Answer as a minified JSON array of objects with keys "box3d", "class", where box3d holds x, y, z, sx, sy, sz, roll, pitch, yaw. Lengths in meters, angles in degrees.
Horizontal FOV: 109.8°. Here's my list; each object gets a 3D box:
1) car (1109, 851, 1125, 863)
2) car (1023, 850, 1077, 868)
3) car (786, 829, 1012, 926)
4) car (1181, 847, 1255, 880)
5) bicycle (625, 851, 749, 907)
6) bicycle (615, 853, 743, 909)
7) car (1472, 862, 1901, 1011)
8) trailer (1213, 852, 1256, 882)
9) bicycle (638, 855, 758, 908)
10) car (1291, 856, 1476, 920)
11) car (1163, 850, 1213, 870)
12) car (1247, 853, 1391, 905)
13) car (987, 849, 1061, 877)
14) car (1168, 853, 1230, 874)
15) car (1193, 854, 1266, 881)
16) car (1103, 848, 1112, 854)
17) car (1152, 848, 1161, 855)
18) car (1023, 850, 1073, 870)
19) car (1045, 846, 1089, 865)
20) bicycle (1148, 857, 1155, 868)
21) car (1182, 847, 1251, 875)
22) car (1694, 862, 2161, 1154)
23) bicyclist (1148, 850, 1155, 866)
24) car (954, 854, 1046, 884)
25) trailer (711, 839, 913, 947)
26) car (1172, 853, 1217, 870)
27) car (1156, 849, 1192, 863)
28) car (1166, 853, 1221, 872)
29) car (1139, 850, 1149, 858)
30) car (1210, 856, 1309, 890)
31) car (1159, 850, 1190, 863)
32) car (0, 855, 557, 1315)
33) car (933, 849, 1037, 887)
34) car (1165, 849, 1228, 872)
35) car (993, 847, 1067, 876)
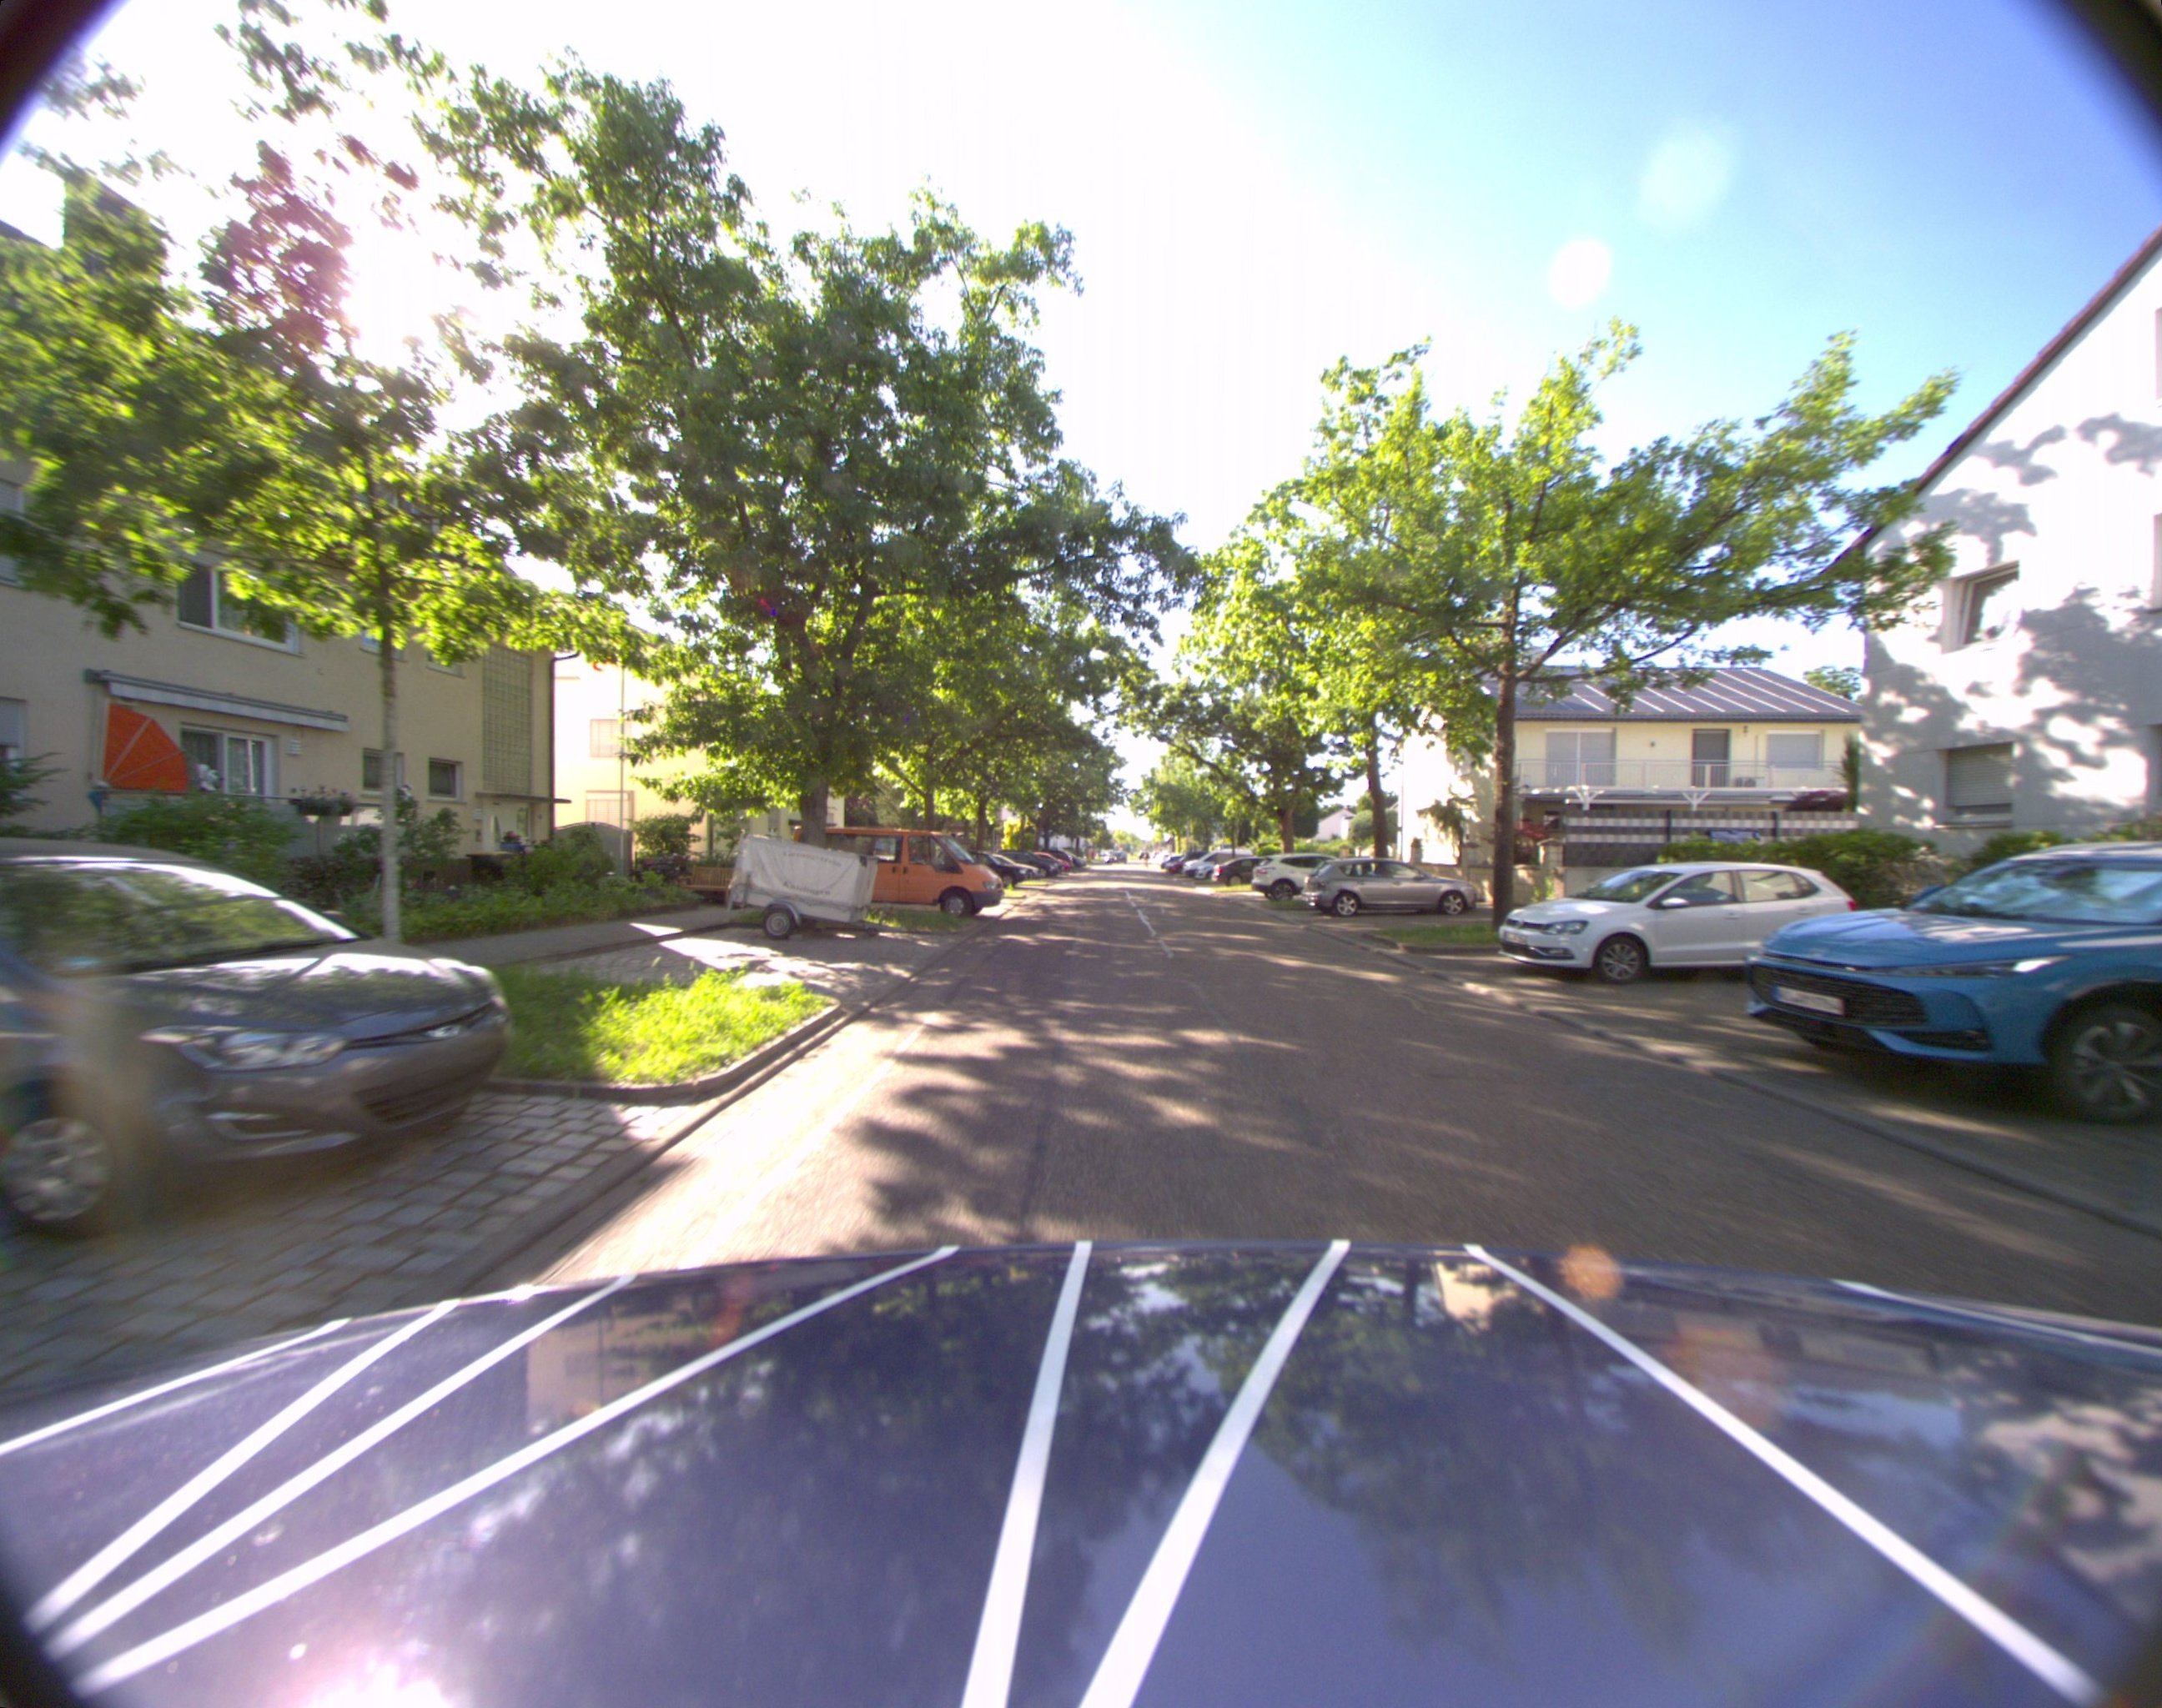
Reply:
[{"box3d":[4.686,0.363,99.442,1.877,1.469,3.852,1,0,5],"class":"car"},{"box3d":[-2.659,0.400,66.057,4.512,1.437,1.838,2,1,4],"class":"car"},{"box3d":[-4.189,0.515,18.075,4.830,2.071,2.086,1,1,1],"class":"car"},{"box3d":[8.566,0.586,47.832,4.247,1.933,2.000,2,1,-1],"class":"car"},{"box3d":[-9.793,0.612,18.918,2.865,1.230,0.468,2,2,2],"class":"bicycle"},{"box3d":[-9.721,0.646,18.420,2.865,1.230,0.468,2,1,2],"class":"bicycle"},{"box3d":[7.585,0.981,9.870,3.996,1.586,1.857,2,1,1],"class":"car"},{"box3d":[8.664,0.727,42.888,2.240,1.664,1.475,0,0,6],"class":"trailer"},{"box3d":[-9.774,0.693,19.408,2.865,1.230,0.468,2,2,2],"class":"bicycle"},{"box3d":[7.695,0.842,19.600,4.044,1.415,1.810,-2,1,0],"class":"car"},{"box3d":[9.494,0.552,67.618,4.219,1.714,1.761,-1,1,3],"class":"car"},{"box3d":[7.700,0.808,24.898,4.197,1.558,1.792,-1,1,3],"class":"car"},{"box3d":[-3.460,0.531,46.672,4.330,1.521,1.841,2,0,1],"class":"car"},{"box3d":[8.911,0.686,57.712,4.487,1.491,1.837,1,1,3],"class":"car"},{"box3d":[8.761,0.766,45.125,3.997,1.507,1.690,1,1,-1],"class":"car"},{"box3d":[6.653,-0.816,190.585,1.943,1.412,4.001,0,1,6],"class":"car"},{"box3d":[16.523,-0.530,165.556,1.764,1.390,3.852,3,1,5],"class":"car"},{"box3d":[-2.650,0.474,61.186,3.785,1.476,1.755,2,2,4],"class":"car"},{"box3d":[-1.374,0.139,74.832,4.221,1.771,1.789,1,1,3],"class":"car"},{"box3d":[7.330,0.886,79.330,0.598,1.052,1.986,3,1,3],"class":"bicycle"},{"box3d":[9.016,0.463,50.687,4.249,1.760,1.967,-1,1,0],"class":"car"},{"box3d":[7.299,0.883,5.220,4.534,1.622,1.938,0,1,3],"class":"car"},{"box3d":[7.351,0.433,79.253,0.597,1.664,0.975,3,1,3],"class":"bicyclist"},{"box3d":[-4.160,0.733,39.273,4.437,1.324,1.691,2,1,4],"class":"car"},{"box3d":[-4.581,0.641,13.293,2.954,1.655,1.614,2,2,-5],"class":"trailer"},{"box3d":[10.632,0.722,71.533,4.010,1.506,1.796,1,0,4],"class":"car"},{"box3d":[11.229,0.263,92.018,3.964,1.565,1.921,-1,2,-3],"class":"car"},{"box3d":[9.321,0.696,63.128,4.283,1.416,1.723,-1,1,-2],"class":"car"},{"box3d":[12.294,0.004,148.801,1.741,1.532,3.949,1,1,8],"class":"car"},{"box3d":[8.191,0.855,35.080,4.219,1.463,1.691,1,1,4],"class":"car"},{"box3d":[11.068,0.309,89.893,3.522,1.487,1.708,0,0,2],"class":"car"},{"box3d":[-5.115,0.849,3.608,3.997,1.614,1.756,1,2,-1],"class":"car"},{"box3d":[-4.246,0.606,34.152,4.348,1.551,1.867,2,1,1],"class":"car"},{"box3d":[9.101,0.517,60.131,4.684,1.758,1.795,-1,0,2],"class":"car"},{"box3d":[-3.272,0.468,49.611,4.584,1.637,1.838,2,1,2],"class":"car"}]
